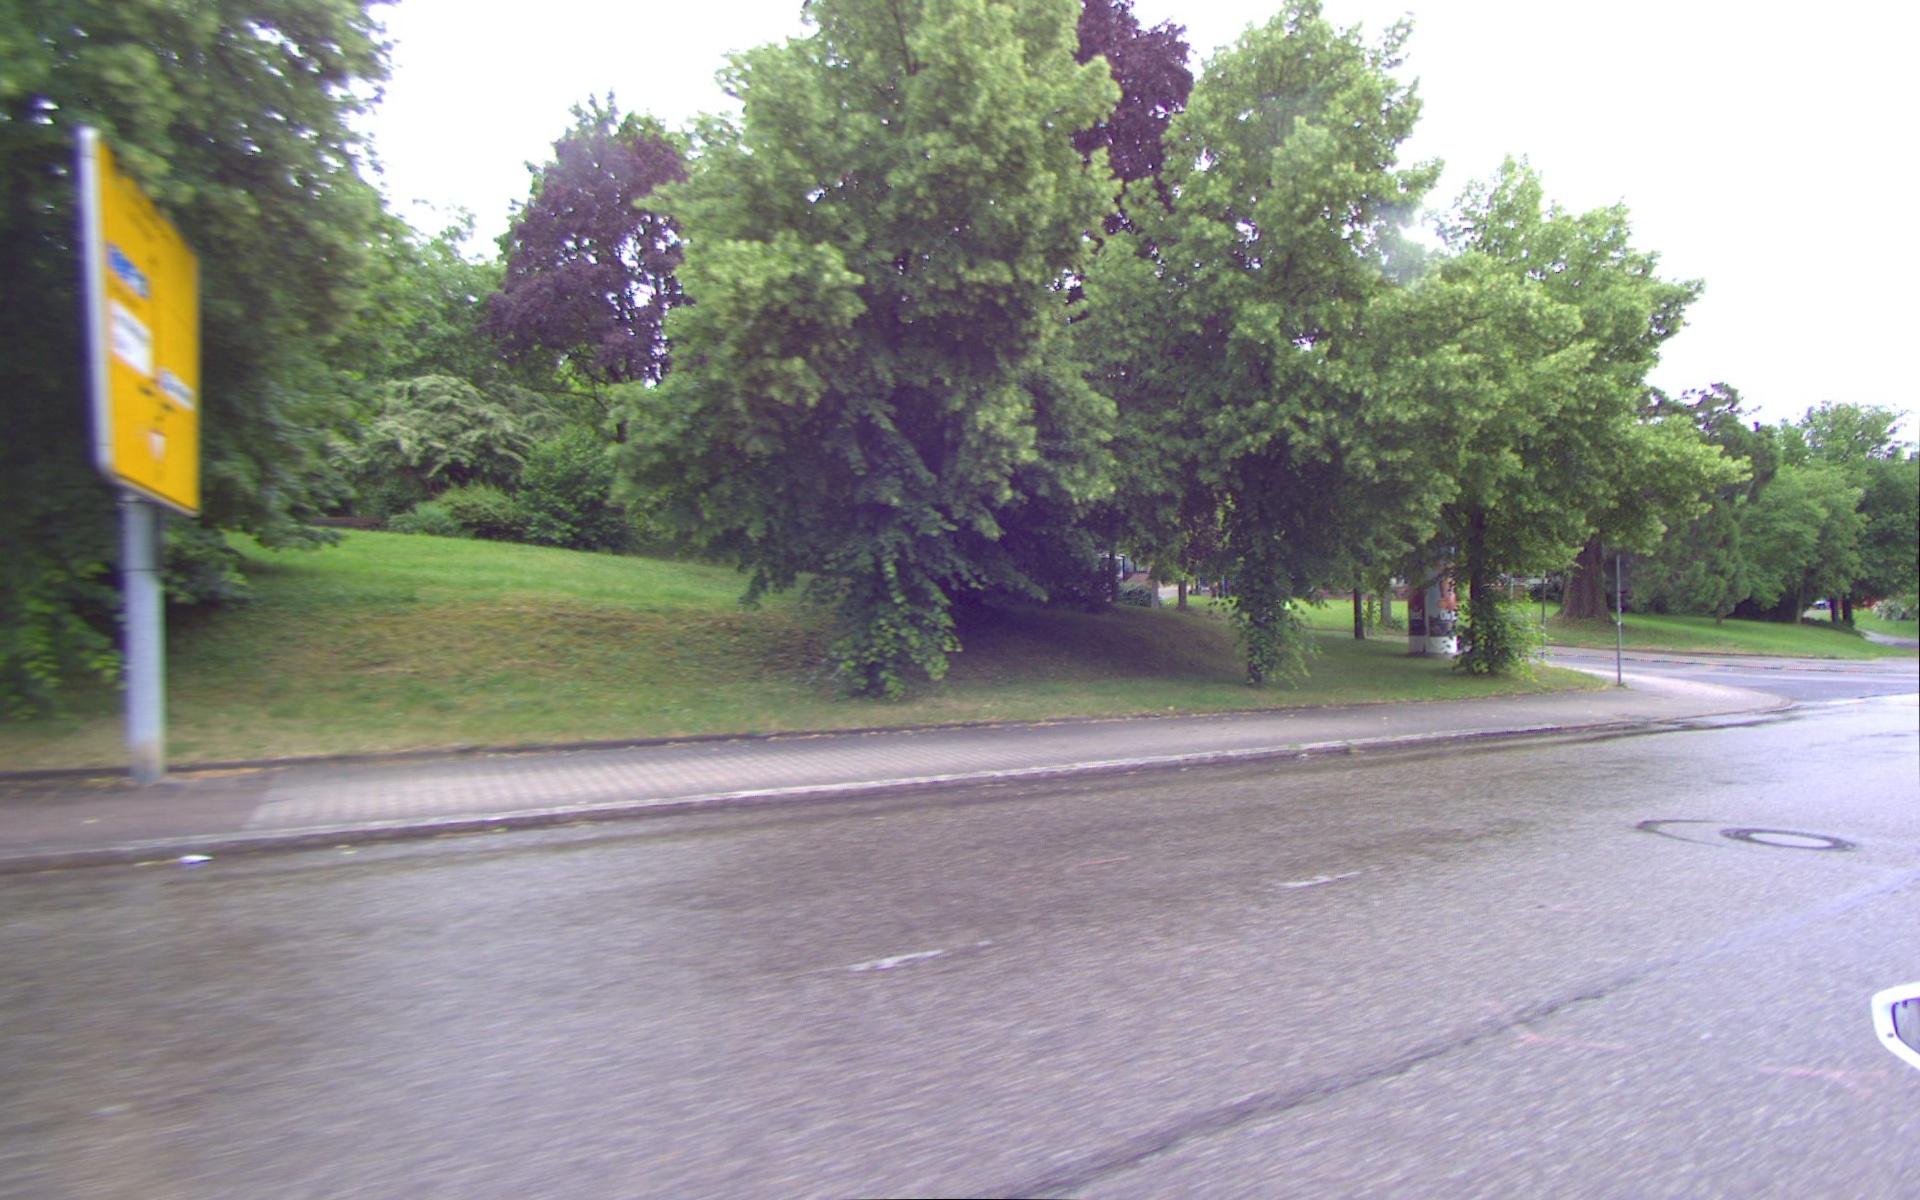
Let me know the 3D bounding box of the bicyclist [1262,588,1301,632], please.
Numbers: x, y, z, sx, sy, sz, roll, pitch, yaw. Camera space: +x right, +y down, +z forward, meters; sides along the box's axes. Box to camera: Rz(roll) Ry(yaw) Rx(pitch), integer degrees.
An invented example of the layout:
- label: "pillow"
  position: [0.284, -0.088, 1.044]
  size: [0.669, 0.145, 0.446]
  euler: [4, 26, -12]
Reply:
- label: "bicyclist"
  position: [13.405, 0.417, 41.846]
  size: [0.847, 1.778, 1.271]
  euler: [4, -3, -39]

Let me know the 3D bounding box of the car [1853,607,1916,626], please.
- label: "car"
  position: [77.664, 1.363, 84.459]
  size: [3.852, 1.505, 1.925]
  euler: [0, -2, 42]

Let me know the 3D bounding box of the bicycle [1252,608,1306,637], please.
- label: "bicycle"
  position: [13.310, 0.933, 41.912]
  size: [0.847, 1.170, 2.015]
  euler: [4, -3, -39]
